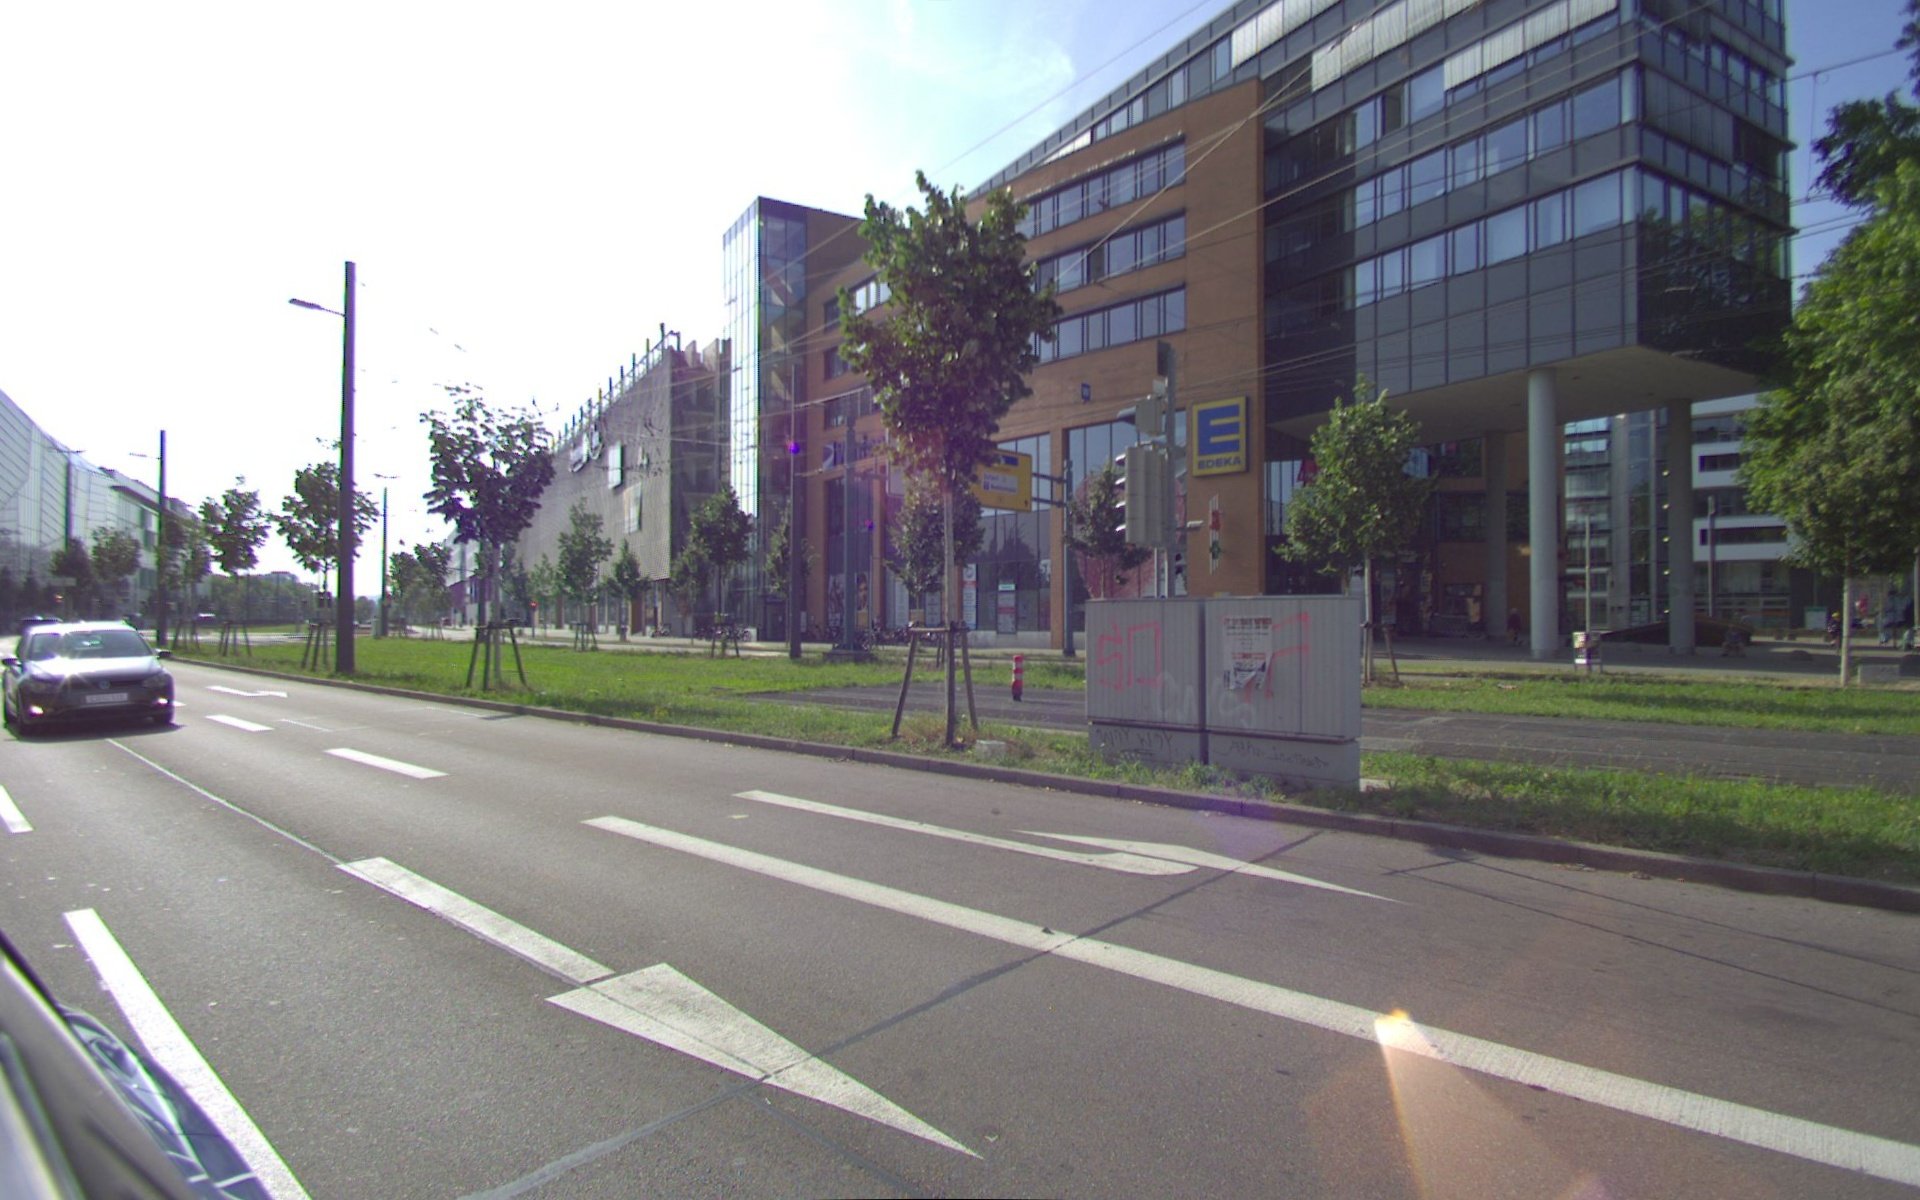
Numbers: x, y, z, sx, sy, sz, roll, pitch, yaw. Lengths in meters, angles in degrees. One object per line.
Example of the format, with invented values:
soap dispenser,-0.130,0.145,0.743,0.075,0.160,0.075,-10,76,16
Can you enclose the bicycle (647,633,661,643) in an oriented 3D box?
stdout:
bicycle,-23.670,2.956,78.336,1.006,0.758,0.362,0,-2,-30

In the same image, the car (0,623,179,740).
car,-12.585,1.048,14.481,3.895,1.430,1.621,-1,-2,43

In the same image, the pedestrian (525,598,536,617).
pedestrian,-37.068,0.649,87.341,0.751,1.591,0.591,1,-2,-35

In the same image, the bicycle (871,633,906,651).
bicycle,-4.038,2.375,57.382,2.021,0.928,0.575,1,-2,-36

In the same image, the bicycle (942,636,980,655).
bicycle,0.068,2.353,52.071,2.021,0.928,0.575,1,-2,-36

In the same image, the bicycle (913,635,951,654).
bicycle,-1.488,2.368,53.880,2.021,0.928,0.575,1,-2,-36

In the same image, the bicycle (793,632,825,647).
bicycle,-9.673,2.522,64.841,2.021,0.928,0.575,1,-2,-36

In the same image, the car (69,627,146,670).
car,-28.781,1.603,34.145,3.164,1.353,1.566,-1,-2,42

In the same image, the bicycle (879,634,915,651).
bicycle,-3.515,2.376,56.697,2.021,0.928,0.575,1,-2,-36

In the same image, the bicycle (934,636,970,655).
bicycle,-0.399,2.348,52.642,2.021,0.928,0.381,1,-2,-36

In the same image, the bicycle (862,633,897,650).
bicycle,-4.610,2.372,58.031,2.021,0.928,0.575,1,-2,-36

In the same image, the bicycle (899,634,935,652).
bicycle,-2.355,2.341,55.325,2.021,0.928,0.575,1,-2,-36

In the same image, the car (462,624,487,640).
car,-39.773,2.637,82.963,1.347,1.215,2.644,1,0,-37

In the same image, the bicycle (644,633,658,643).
bicycle,-24.264,2.979,79.373,0.989,0.758,0.453,0,-2,-30

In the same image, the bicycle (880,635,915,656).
bicycle,-3.013,2.169,48.547,0.709,0.914,1.657,-1,-1,42

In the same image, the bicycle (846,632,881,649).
bicycle,-5.660,2.366,59.449,2.021,0.928,0.575,1,-2,-36

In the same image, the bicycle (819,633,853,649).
bicycle,-7.555,2.476,61.826,2.021,0.928,0.575,1,-2,-36

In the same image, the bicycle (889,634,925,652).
bicycle,-2.931,2.364,56.020,2.021,0.928,0.575,1,-2,-36

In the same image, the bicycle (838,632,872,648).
bicycle,-6.224,2.385,60.117,2.021,0.928,0.575,1,-2,-36

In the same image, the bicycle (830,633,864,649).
bicycle,-6.817,2.461,61.031,2.021,0.928,0.575,1,-2,-36
